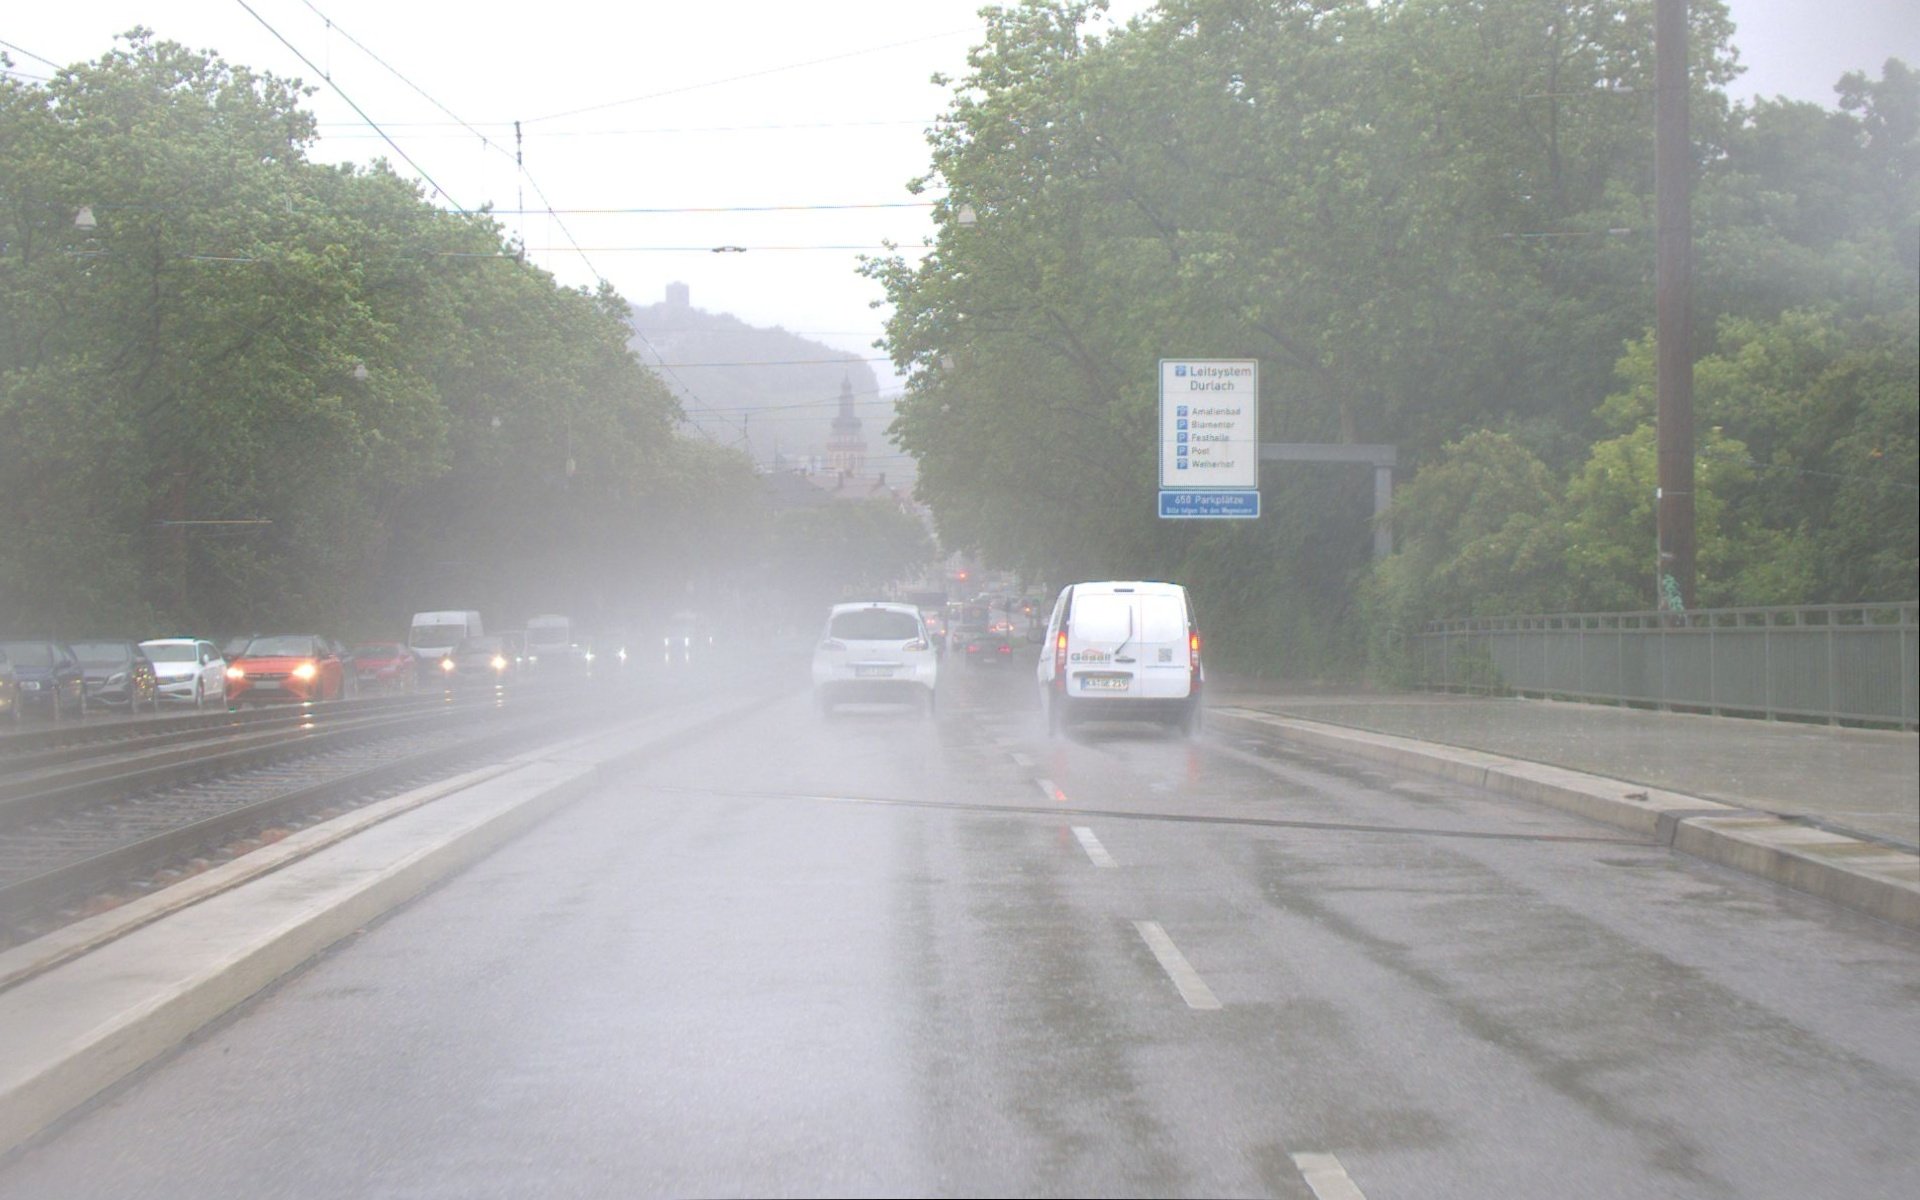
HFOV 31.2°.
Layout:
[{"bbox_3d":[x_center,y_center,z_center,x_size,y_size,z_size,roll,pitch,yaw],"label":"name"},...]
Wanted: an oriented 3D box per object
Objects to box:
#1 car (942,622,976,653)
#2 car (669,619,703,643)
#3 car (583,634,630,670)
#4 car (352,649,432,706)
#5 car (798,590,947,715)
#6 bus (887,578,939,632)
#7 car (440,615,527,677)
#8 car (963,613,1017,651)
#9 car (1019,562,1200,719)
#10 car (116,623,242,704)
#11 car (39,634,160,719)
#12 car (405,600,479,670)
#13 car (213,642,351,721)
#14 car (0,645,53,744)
[{"bbox_3d":[-0.060,2.297,210.559,1.993,1.820,4.000,1,0,1],"label":"car"},{"bbox_3d":[-17.630,1.986,221.328,1.805,1.345,4.264,-2,1,-1],"label":"car"},{"bbox_3d":[-15.256,2.223,148.406,1.506,1.396,4.707,-2,1,0],"label":"car"},{"bbox_3d":[-16.438,2.233,99.606,1.609,1.437,4.262,-2,1,-1],"label":"car"},{"bbox_3d":[-1.257,0.742,50.870,1.993,1.711,4.000,1,0,1],"label":"car"},{"bbox_3d":[-3.407,0.313,252.263,3.389,3.823,9.738,1,0,1],"label":"bus"},{"bbox_3d":[-13.028,1.242,94.204,1.816,1.363,4.265,1,3,0],"label":"car"},{"bbox_3d":[1.154,1.184,129.907,1.993,1.316,4.000,1,0,1],"label":"car"},{"bbox_3d":[1.710,0.441,40.512,1.993,1.720,4.000,1,0,1],"label":"car"},{"bbox_3d":[-16.021,1.280,70.714,1.506,1.396,4.894,-6,1,-2],"label":"car"},{"bbox_3d":[-16.095,1.409,64.453,1.505,1.396,4.409,-2,1,-5],"label":"car"},{"bbox_3d":[-17.306,1.154,115.116,1.741,2.162,5.815,-2,1,-2],"label":"car"},{"bbox_3d":[-12.694,1.508,64.597,1.799,1.311,4.084,1,0,0],"label":"car"},{"bbox_3d":[-15.733,1.516,54.075,1.863,1.451,4.320,-2,1,-2],"label":"car"}]
